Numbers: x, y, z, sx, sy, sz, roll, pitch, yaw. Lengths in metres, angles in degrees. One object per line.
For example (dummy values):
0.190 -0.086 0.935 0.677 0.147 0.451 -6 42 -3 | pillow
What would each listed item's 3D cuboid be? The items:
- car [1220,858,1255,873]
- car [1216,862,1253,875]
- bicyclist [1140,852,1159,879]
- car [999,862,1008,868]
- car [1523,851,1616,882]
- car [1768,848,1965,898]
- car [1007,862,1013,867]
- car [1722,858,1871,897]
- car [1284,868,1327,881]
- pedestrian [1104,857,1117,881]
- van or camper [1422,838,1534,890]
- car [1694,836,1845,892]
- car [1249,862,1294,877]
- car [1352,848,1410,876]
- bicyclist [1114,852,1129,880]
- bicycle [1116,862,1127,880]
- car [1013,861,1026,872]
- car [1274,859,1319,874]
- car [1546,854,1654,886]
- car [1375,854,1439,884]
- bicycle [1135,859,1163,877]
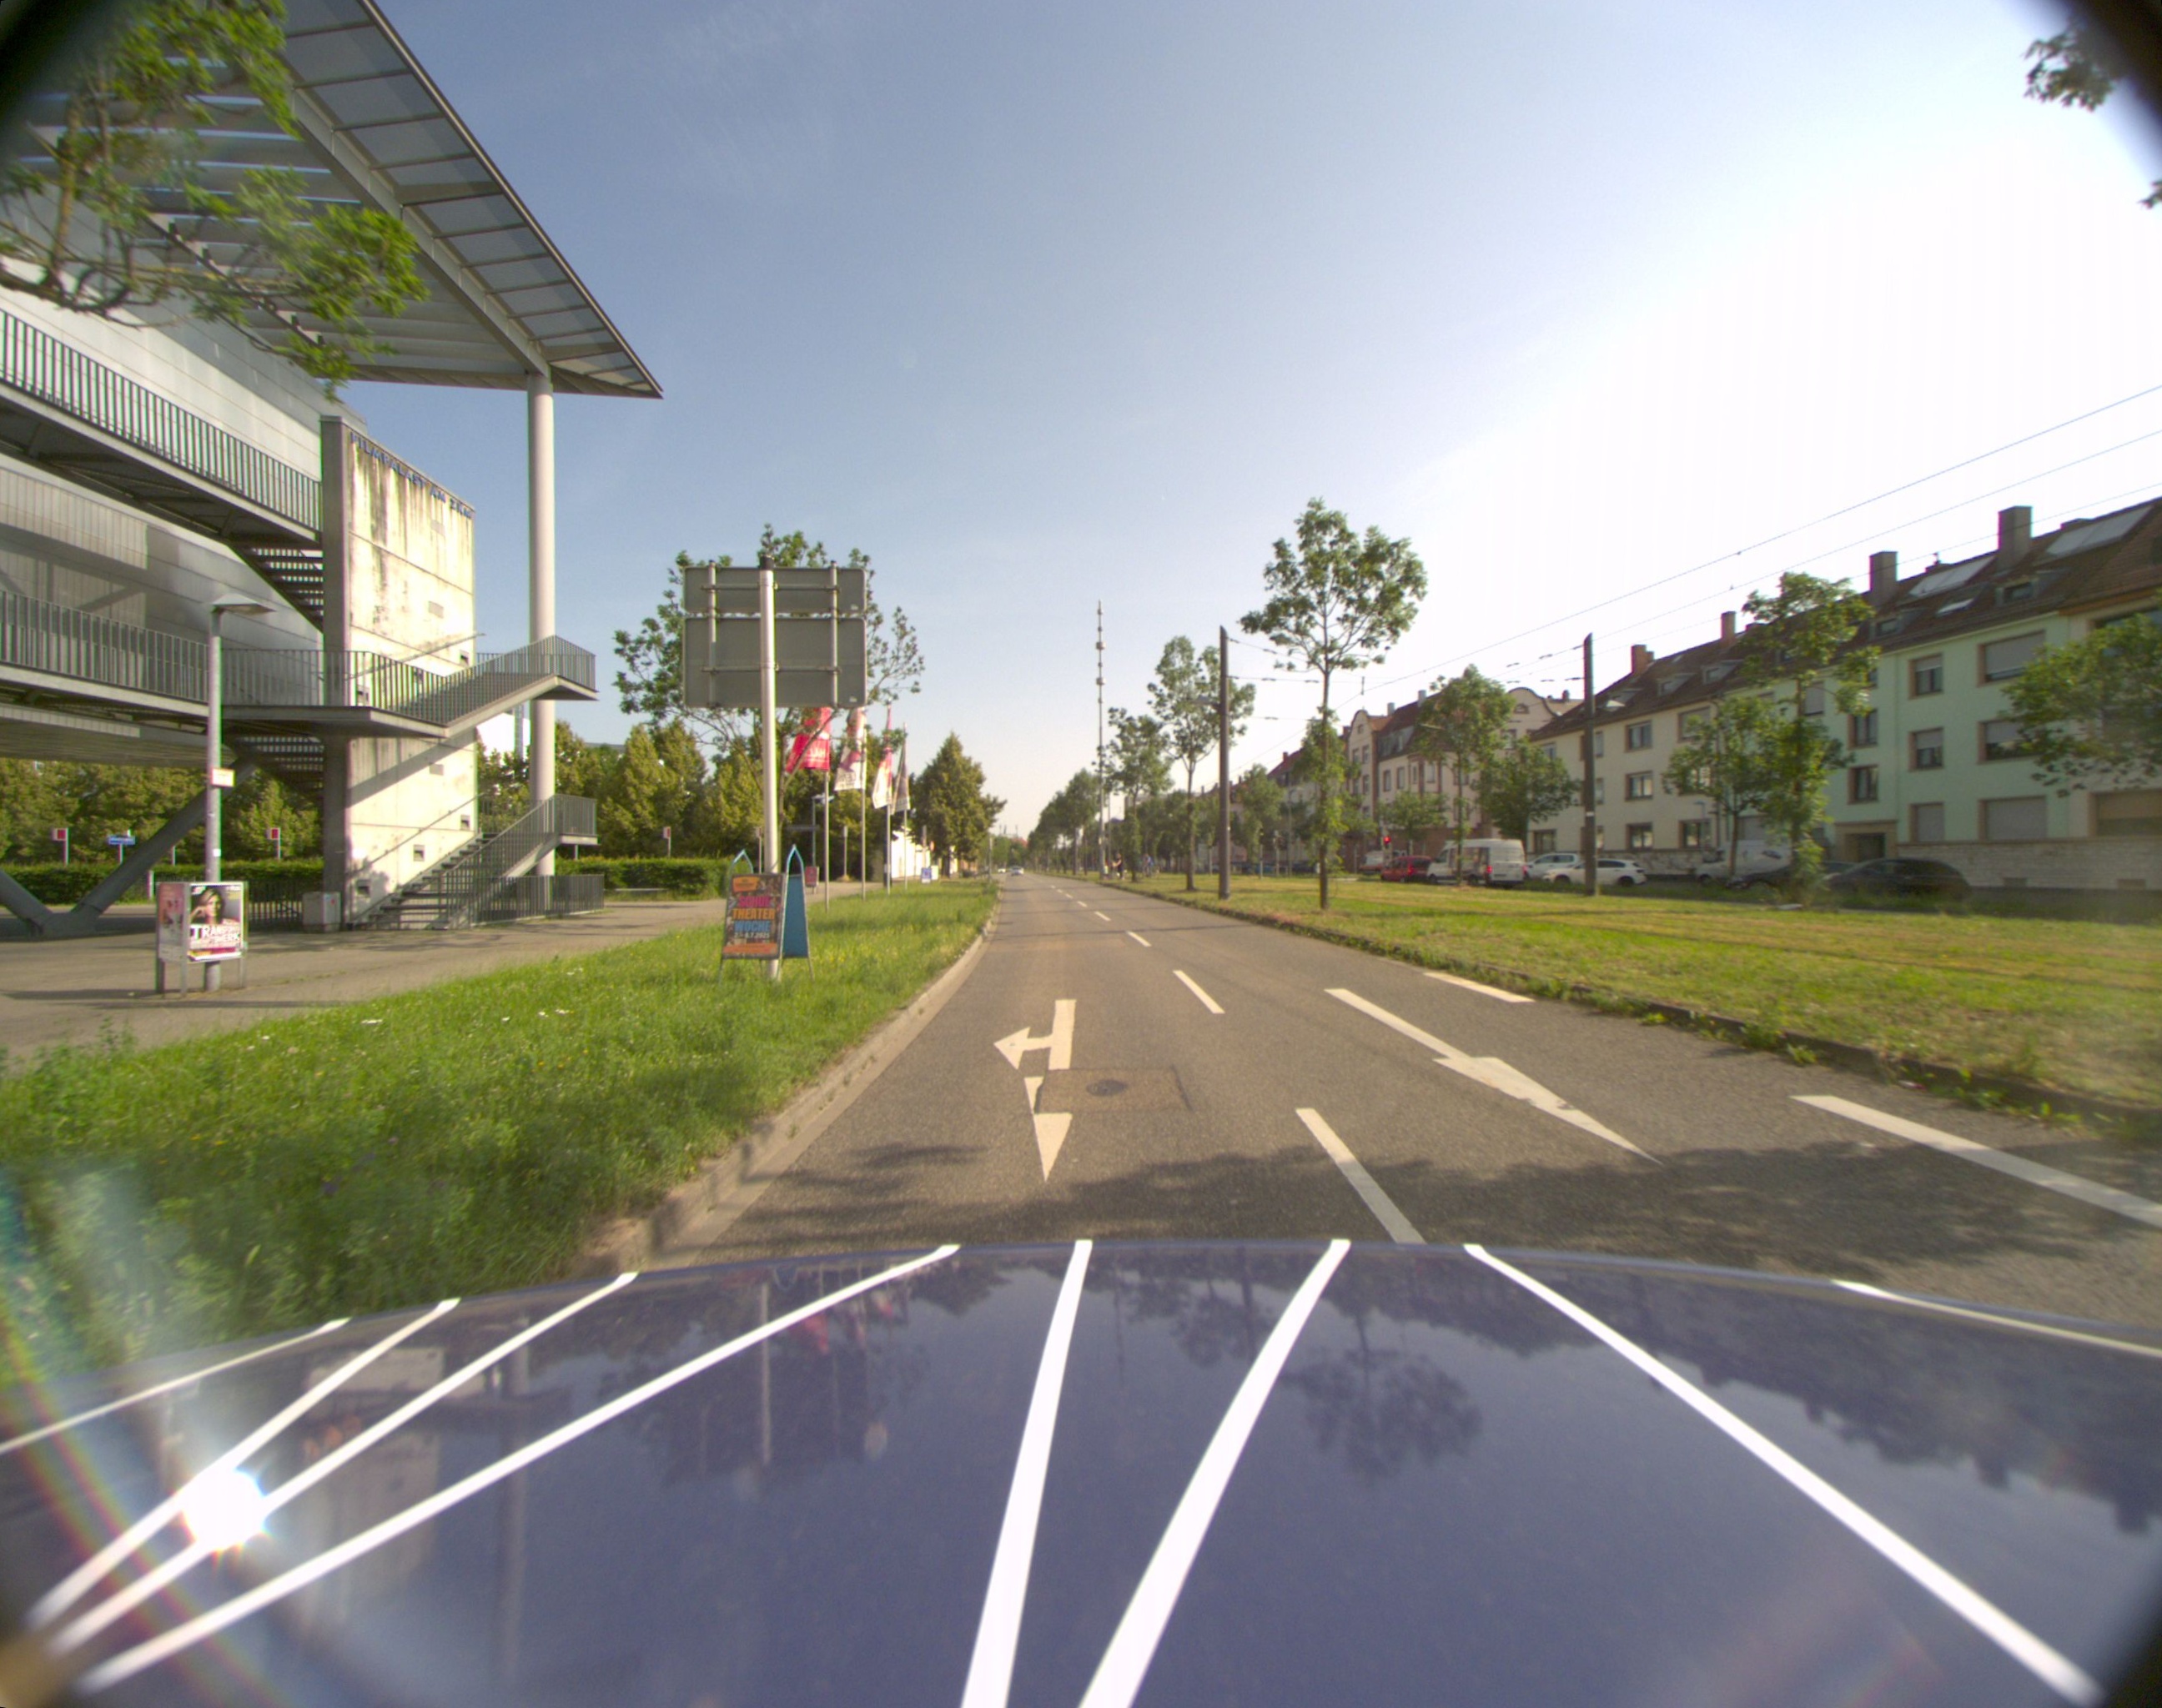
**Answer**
20.089 1.514 97.539 3.991 1.696 1.877 -2 1 24 | car
20.734 1.974 102.605 4.491 1.596 2.003 -2 0 23 | car
4.795 0.802 53.199 1.186 1.840 0.911 -2 1 13 | bicyclist
-19.651 2.789 192.701 1.999 1.652 3.998 -1 0 -5 | car
26.198 0.668 40.850 4.088 1.520 1.816 -2 1 32 | car
26.515 0.668 25.903 4.338 1.521 2.004 -2 1 34 | car
-23.460 3.458 250.632 1.999 1.652 3.998 -1 0 -5 | car
26.761 0.896 28.593 3.767 1.335 1.776 -2 0 32 | car
22.737 2.105 76.870 3.841 1.121 1.772 -2 0 26 | car
1.970 0.996 51.516 0.610 1.594 0.736 -1 0 26 | pedestrian
20.396 0.479 39.461 2.148 2.459 6.055 1 0 -6 | van or camper
33.263 0.426 37.021 1.999 2.449 5.575 -2 0 -4 | car
21.730 1.757 86.674 4.504 1.432 2.003 -2 0 26 | car
29.536 0.734 75.067 2.355 2.549 6.504 -2 0 -7 | car
2.680 0.807 50.283 0.907 1.812 0.871 -1 0 9 | bicyclist
2.690 1.135 50.351 0.576 1.139 1.754 -1 0 8 | bicycle
-9.377 1.905 115.354 1.999 1.652 3.998 -1 0 -5 | car
23.151 1.343 81.642 4.333 1.318 2.003 -2 0 26 | car
26.030 0.828 38.303 4.355 1.466 1.861 -2 1 32 | car
19.804 0.883 46.344 1.821 1.727 4.159 1 0 -4 | car
4.762 0.981 53.152 1.790 1.139 0.577 -2 1 12 | bicycle
